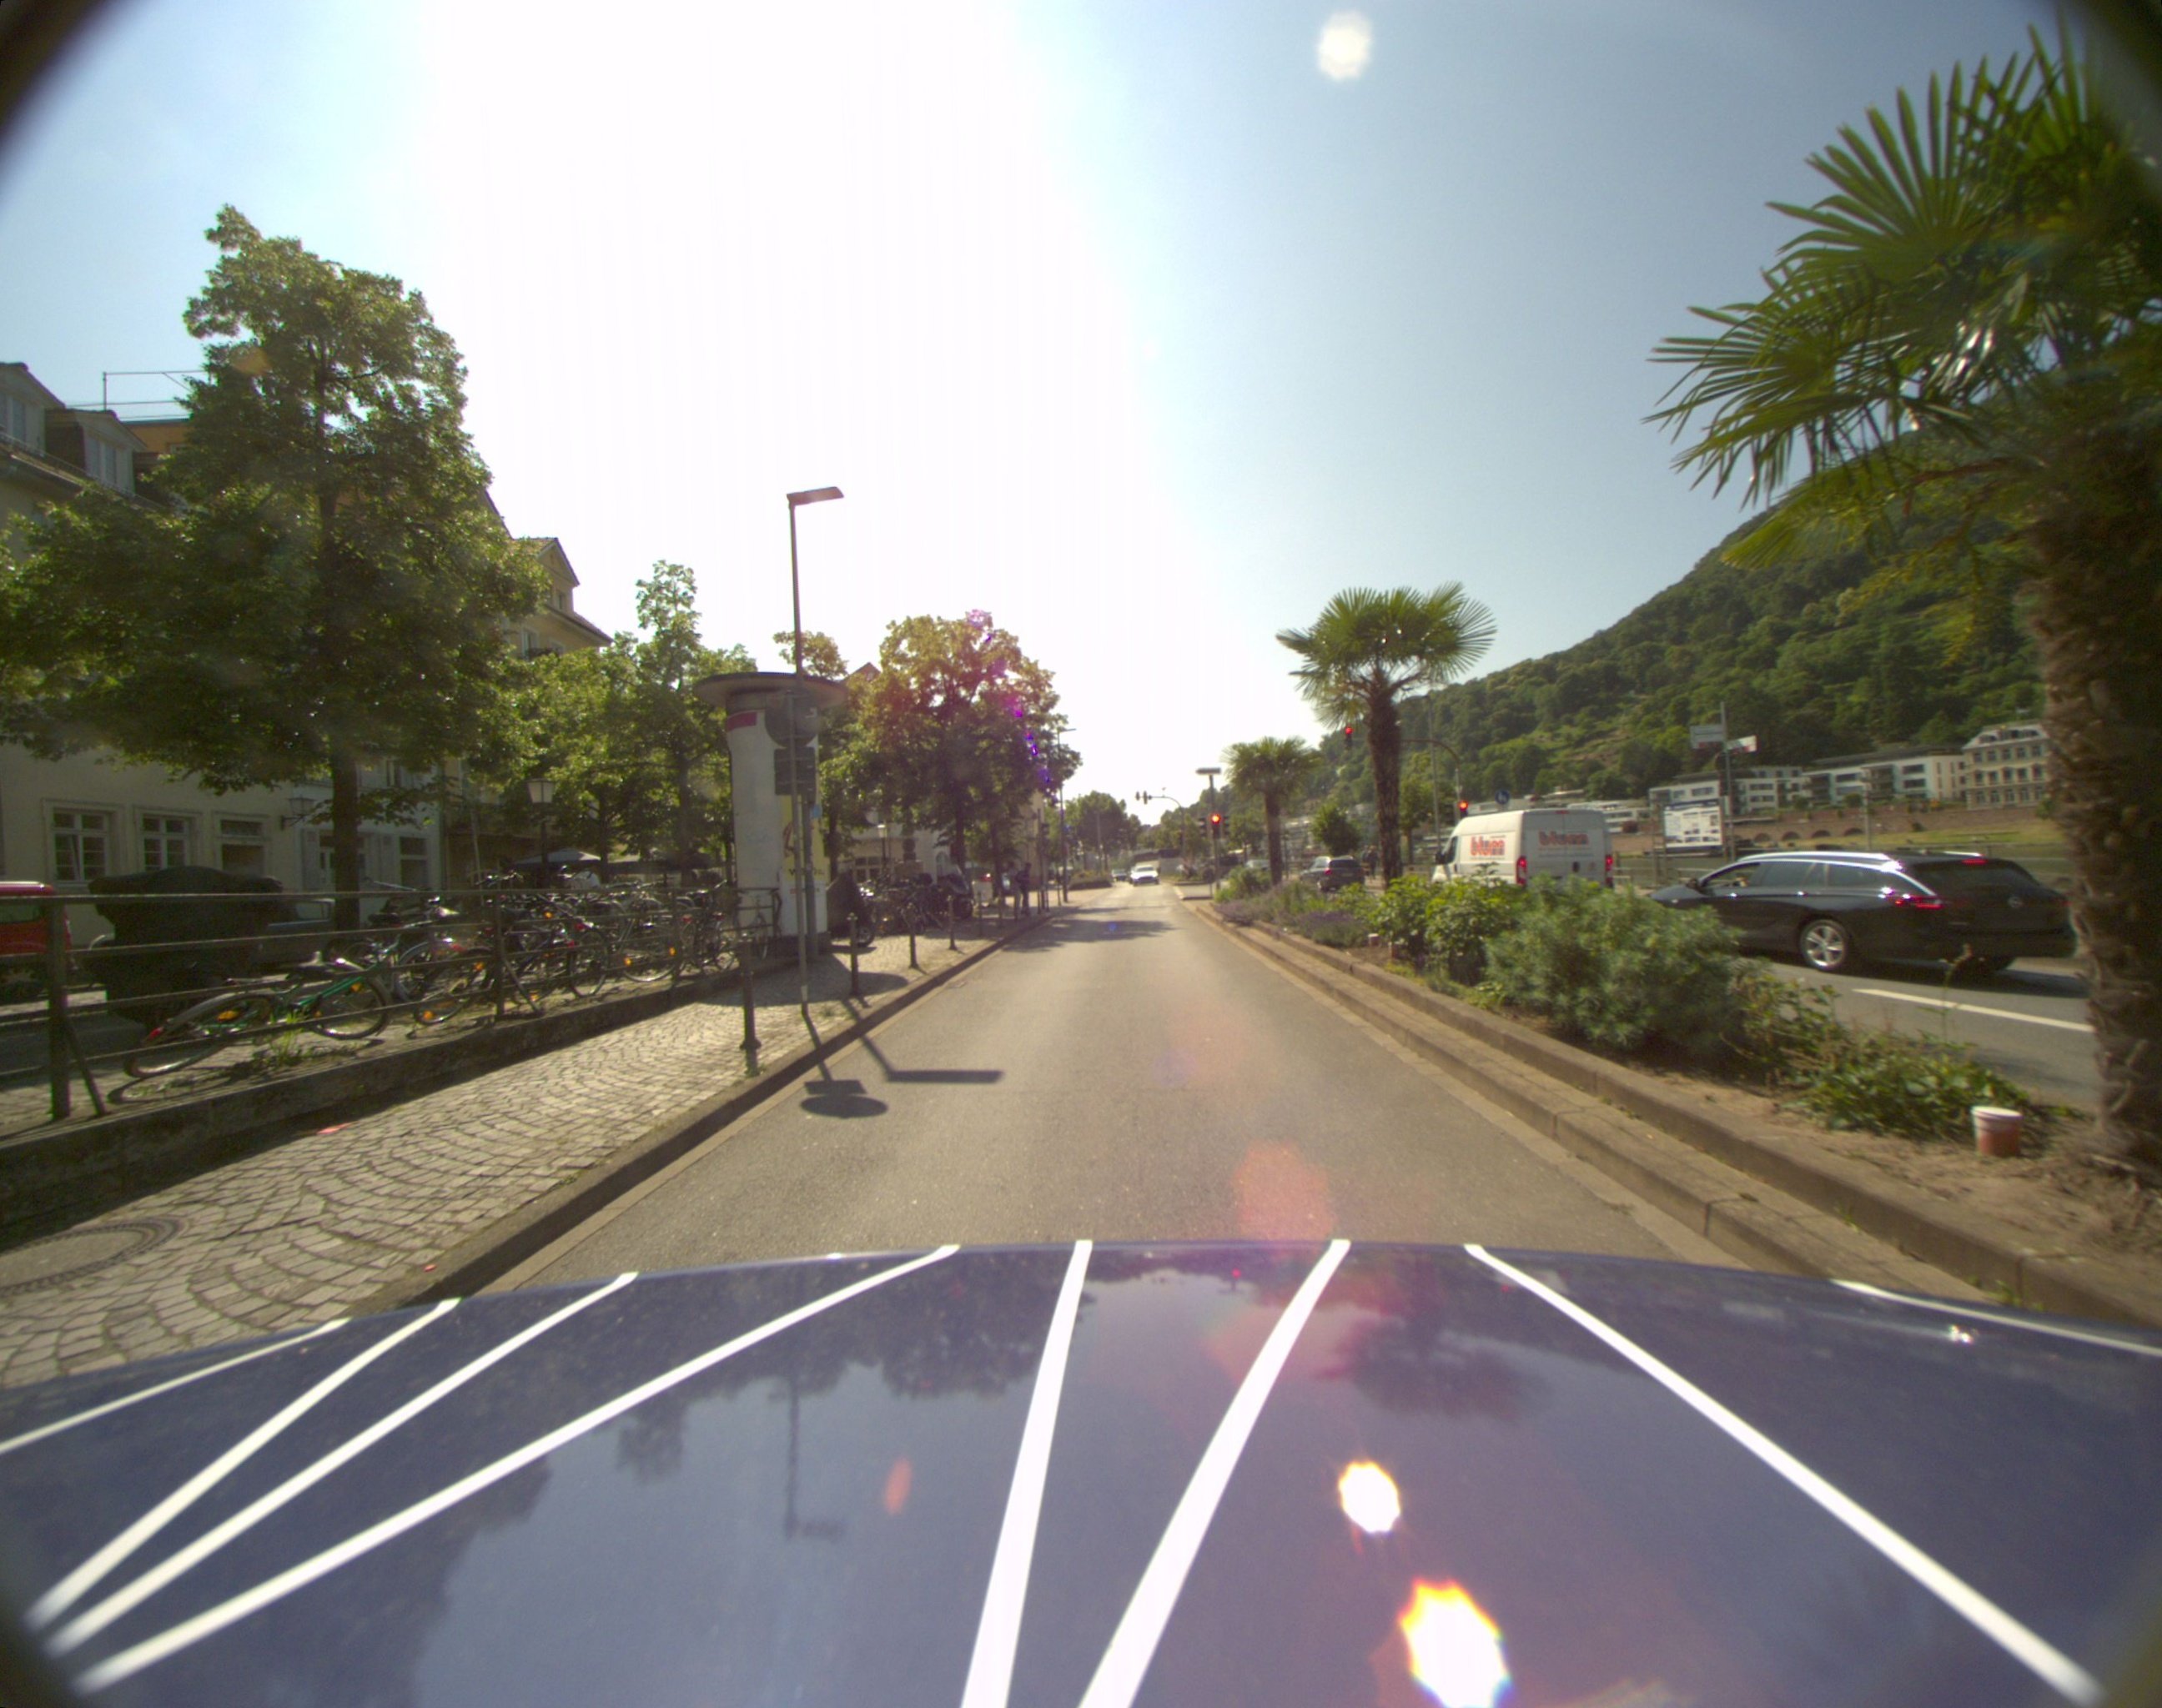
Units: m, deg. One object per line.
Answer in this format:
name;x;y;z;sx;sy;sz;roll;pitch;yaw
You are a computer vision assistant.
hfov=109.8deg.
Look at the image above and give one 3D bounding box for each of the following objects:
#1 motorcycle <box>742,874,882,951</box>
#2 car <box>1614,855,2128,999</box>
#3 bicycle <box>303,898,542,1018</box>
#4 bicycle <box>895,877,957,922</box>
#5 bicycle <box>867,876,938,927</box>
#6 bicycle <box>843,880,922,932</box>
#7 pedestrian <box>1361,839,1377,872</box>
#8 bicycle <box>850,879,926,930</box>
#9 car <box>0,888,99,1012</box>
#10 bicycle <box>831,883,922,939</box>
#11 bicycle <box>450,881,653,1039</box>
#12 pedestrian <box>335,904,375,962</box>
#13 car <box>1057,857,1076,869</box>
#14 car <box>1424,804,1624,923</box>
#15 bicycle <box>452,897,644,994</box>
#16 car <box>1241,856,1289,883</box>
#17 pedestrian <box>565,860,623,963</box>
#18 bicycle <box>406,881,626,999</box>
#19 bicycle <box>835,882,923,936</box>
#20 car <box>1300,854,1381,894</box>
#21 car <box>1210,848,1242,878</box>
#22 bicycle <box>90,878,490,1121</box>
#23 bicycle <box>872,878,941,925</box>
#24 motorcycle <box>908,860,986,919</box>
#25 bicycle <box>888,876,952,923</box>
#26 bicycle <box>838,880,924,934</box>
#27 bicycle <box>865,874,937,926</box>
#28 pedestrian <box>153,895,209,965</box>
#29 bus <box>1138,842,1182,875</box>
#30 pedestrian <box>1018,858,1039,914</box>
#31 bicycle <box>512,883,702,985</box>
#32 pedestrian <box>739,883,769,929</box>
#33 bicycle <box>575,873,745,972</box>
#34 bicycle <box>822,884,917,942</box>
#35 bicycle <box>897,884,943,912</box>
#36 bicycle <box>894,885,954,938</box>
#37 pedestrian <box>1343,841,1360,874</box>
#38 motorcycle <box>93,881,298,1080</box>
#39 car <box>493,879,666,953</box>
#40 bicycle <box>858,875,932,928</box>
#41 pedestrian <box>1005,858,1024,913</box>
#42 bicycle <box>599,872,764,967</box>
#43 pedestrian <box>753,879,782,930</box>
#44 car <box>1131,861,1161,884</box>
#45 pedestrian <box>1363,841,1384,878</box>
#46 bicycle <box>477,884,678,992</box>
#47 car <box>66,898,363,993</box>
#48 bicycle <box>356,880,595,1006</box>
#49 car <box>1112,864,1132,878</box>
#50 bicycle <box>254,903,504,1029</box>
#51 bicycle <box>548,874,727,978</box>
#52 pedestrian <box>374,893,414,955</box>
motorcycle;-4.860;1.041;13.662;2.531;1.267;0.725;-2;0;25
car;9.915;0.772;10.347;1.998;1.410;4.921;-2;0;3
bicycle;-6.496;1.016;7.535;1.967;1.106;0.477;-1;1;2
bicycle;-4.060;1.186;19.923;1.629;1.163;0.367;-1;0;20
bicycle;-4.368;1.158;18.661;1.631;1.210;0.413;0;0;-2
bicycle;-4.417;1.158;16.942;1.631;1.126;0.413;0;0;-2
pedestrian;15.491;0.090;40.911;0.593;1.741;0.503;-2;0;0
bicycle;-4.410;1.154;17.375;1.631;1.126;0.413;0;0;-2
car;-16.691;1.392;9.794;1.836;1.789;4.738;-2;-2;2
bicycle;-4.228;1.170;15.756;1.753;1.126;0.464;0;0;-2
bicycle;-5.068;0.930;7.482;0.476;1.254;2.162;-1;0;0
pedestrian;-19.443;2.103;20.349;0.425;1.467;0.615;-2;0;-6
car;-2.459;1.528;127.745;2.001;1.750;4.584;-3;2;-17
car;10.448;0.203;18.463;2.200;2.511;4.749;0;0;2
bicycle;-6.233;1.062;8.906;2.028;1.086;0.338;-1;0;2
car;11.103;0.883;46.198;1.998;1.449;4.644;-2;0;4
pedestrian;-8.474;0.983;13.230;0.541;1.735;0.502;-4;0;4
bicycle;-6.307;0.947;8.512;2.160;1.254;0.421;-1;1;2
bicycle;-4.294;1.161;16.203;1.753;1.126;0.464;0;0;-2
car;10.839;0.780;32.053;1.998;1.444;4.262;-4;0;2
car;11.447;0.682;60.264;1.869;2.137;5.024;-3;0;4
bicycle;-5.149;0.826;5.224;0.476;1.254;2.162;-1;0;0
bicycle;-4.345;1.181;18.965;1.631;1.163;0.350;0;0;-2
motorcycle;-3.751;0.981;21.126;2.196;1.519;0.800;-2;0;38
bicycle;-4.164;1.175;19.632;1.629;1.163;0.425;-1;0;20
bicycle;-4.357;1.153;16.638;1.753;1.126;0.464;0;0;-2
bicycle;-4.310;1.103;18.225;1.631;1.210;0.413;0;0;-2
pedestrian;-19.927;1.672;16.832;0.508;1.467;0.567;-2;0;3
bus;8.884;0.512;86.777;2.657;3.368;10.789;-2;0;-6
pedestrian;-1.693;1.020;24.454;0.541;1.767;0.583;-1;0;7
bicycle;-6.113;1.021;9.841;2.160;1.254;0.477;-1;1;2
pedestrian;-9.291;1.480;21.595;0.493;1.256;0.580;-2;0;7
bicycle;-6.000;0.964;10.875;2.160;1.360;0.477;-1;1;2
bicycle;-4.225;1.171;15.237;1.753;1.126;0.540;0;0;-5
bicycle;-6.589;1.803;31.072;1.881;1.124;0.329;-2;-1;17
bicycle;-3.338;1.213;16.345;0.539;1.002;1.756;-2;0;13
pedestrian;14.563;0.176;40.930;0.593;1.741;0.781;-2;0;0
motorcycle;-6.969;0.885;5.948;2.156;1.305;0.650;-1;0;30
car;-14.335;1.695;22.087;1.838;1.780;4.463;-5;-2;2
bicycle;-4.345;1.110;17.805;1.631;1.210;0.413;0;0;-2
pedestrian;-2.166;1.035;24.854;0.541;1.767;0.582;-1;0;0
bicycle;-5.975;0.964;11.417;2.160;1.360;0.584;-1;1;2
pedestrian;-9.163;1.473;22.213;0.493;1.451;0.580;-2;0;7
car;4.651;1.334;54.722;1.998;1.497;4.594;-2;-2;4
pedestrian;15.109;0.270;39.223;0.794;1.845;0.580;-2;0;0
bicycle;-6.159;1.023;9.336;2.160;1.254;0.477;-1;1;2
car;-16.436;1.657;14.707;1.588;1.469;3.562;-2;-2;2
bicycle;-6.385;0.926;8.050;2.160;1.254;0.477;-1;1;2
car;4.585;1.896;84.767;1.998;1.497;4.591;0;0;0
bicycle;-6.500;1.030;7.067;1.954;1.094;0.423;-1;1;2
bicycle;-6.025;0.966;10.368;2.160;1.360;0.477;-1;1;2
pedestrian;-18.534;1.874;20.509;0.425;1.603;0.628;-2;0;3
